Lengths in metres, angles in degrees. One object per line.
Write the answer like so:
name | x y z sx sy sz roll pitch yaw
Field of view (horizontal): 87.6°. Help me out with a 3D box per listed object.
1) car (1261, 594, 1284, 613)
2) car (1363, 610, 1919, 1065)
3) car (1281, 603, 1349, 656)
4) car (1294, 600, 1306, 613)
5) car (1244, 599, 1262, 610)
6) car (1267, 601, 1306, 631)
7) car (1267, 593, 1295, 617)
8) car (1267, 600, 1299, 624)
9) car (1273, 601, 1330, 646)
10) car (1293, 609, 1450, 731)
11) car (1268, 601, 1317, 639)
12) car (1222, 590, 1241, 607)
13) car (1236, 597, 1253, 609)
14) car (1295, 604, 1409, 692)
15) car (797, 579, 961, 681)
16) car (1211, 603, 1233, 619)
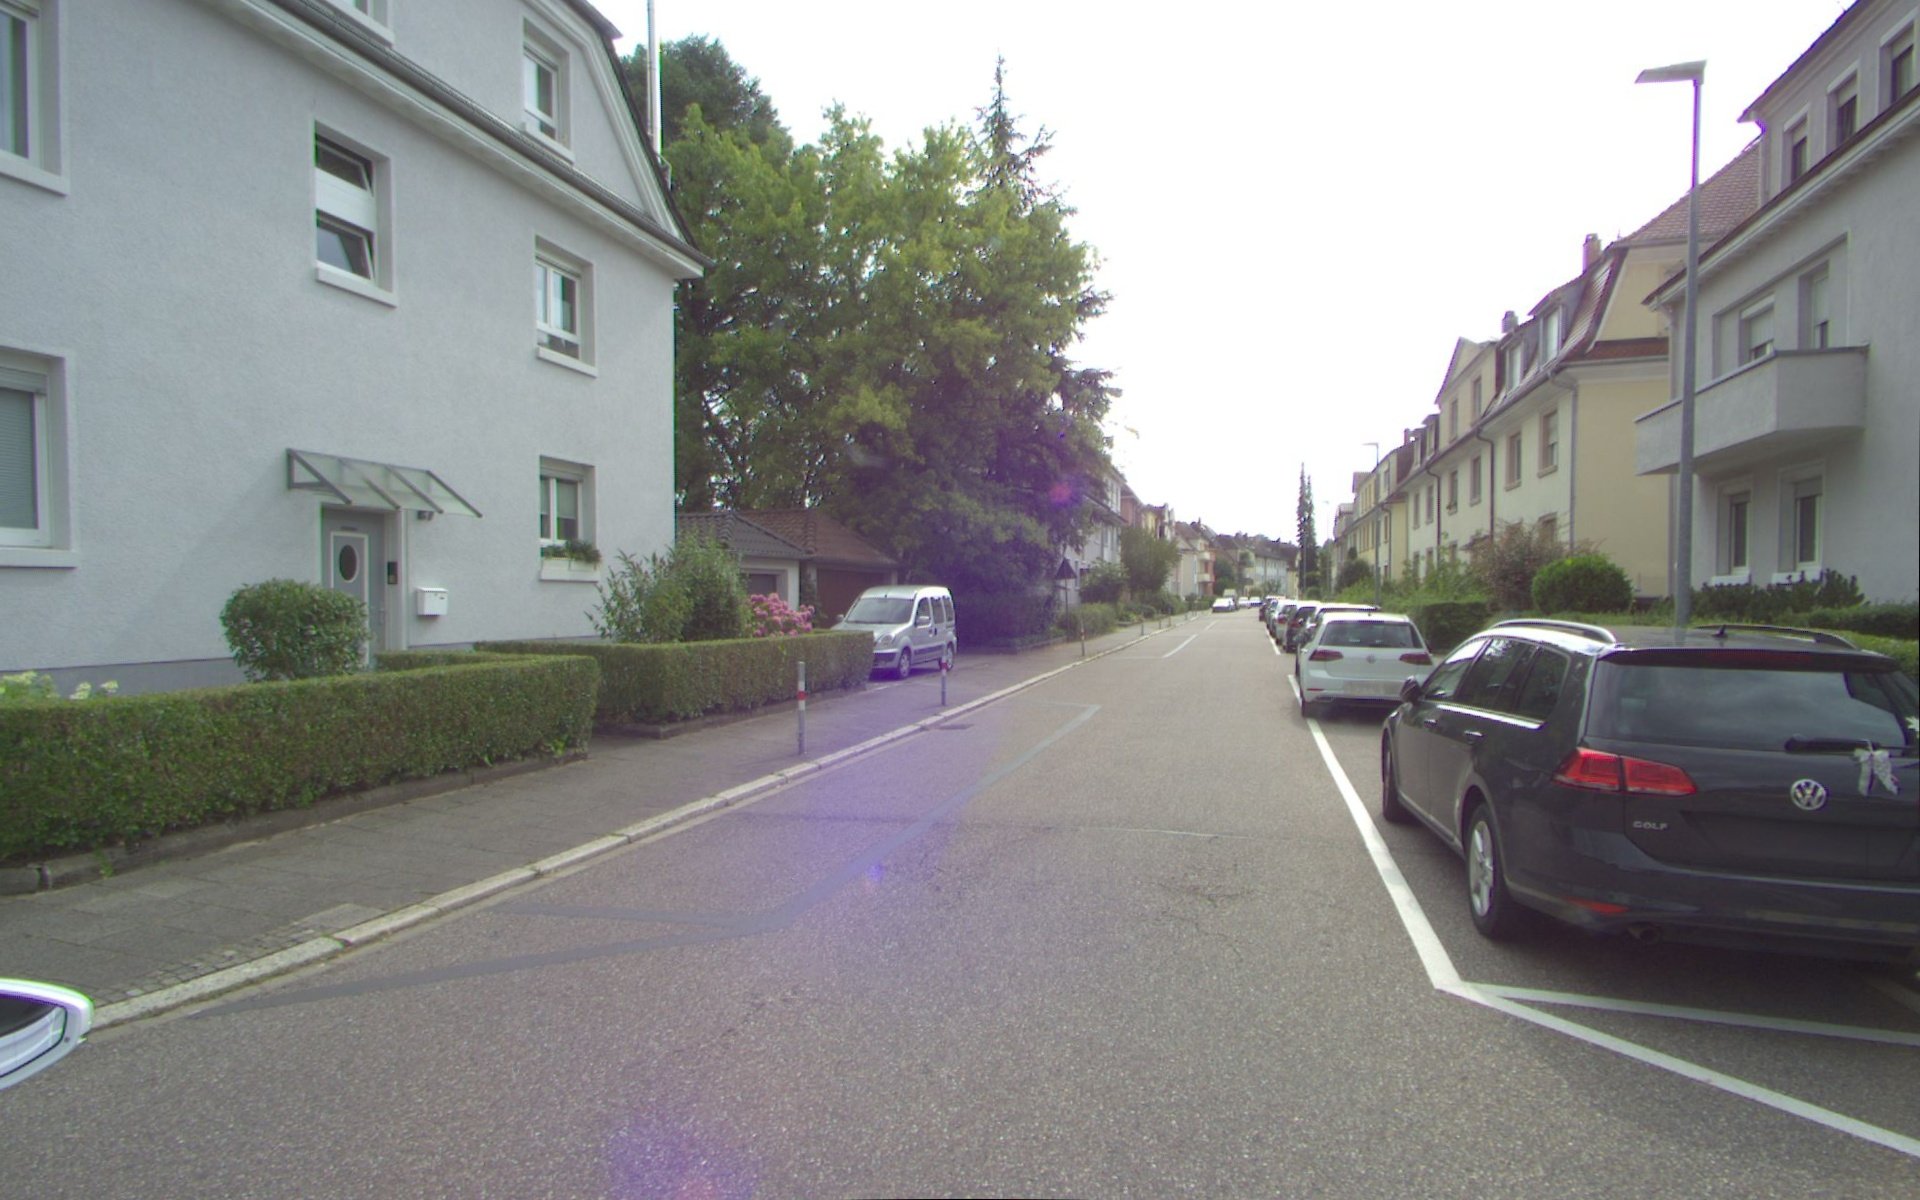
car | 27.273 0.310 87.437 1.826 1.599 4.168 0 0 17
car | 3.531 0.831 5.478 1.825 1.491 4.171 0 0 13
car | 10.864 0.860 30.853 1.826 1.491 4.168 0 0 18
car | 57.617 1.098 169.667 1.965 2.040 3.849 -1 0 18
car | 43.508 0.720 148.559 1.968 1.556 3.986 -1 0 25
car | 16.989 0.785 52.176 1.826 1.491 4.168 0 0 18
car | 22.142 0.321 69.094 1.826 1.599 4.168 0 0 18
car | 20.589 0.737 63.855 1.826 1.491 4.168 0 0 18
car | 12.258 0.808 36.117 1.826 1.491 4.168 0 0 18
car | 5.991 0.913 15.004 1.826 1.491 4.168 0 0 18
car | 13.850 0.776 41.838 1.826 1.491 4.168 0 0 18
car | 32.426 -0.155 119.657 1.964 2.040 3.992 0 0 19
car | 38.552 0.367 135.598 1.965 1.662 3.991 0 0 20
car | 7.581 0.849 19.705 1.826 1.491 4.168 0 0 18
car | -1.518 0.543 20.384 1.964 1.862 3.993 0 0 18
car | 28.408 1.192 108.359 1.965 1.662 3.991 0 0 20
